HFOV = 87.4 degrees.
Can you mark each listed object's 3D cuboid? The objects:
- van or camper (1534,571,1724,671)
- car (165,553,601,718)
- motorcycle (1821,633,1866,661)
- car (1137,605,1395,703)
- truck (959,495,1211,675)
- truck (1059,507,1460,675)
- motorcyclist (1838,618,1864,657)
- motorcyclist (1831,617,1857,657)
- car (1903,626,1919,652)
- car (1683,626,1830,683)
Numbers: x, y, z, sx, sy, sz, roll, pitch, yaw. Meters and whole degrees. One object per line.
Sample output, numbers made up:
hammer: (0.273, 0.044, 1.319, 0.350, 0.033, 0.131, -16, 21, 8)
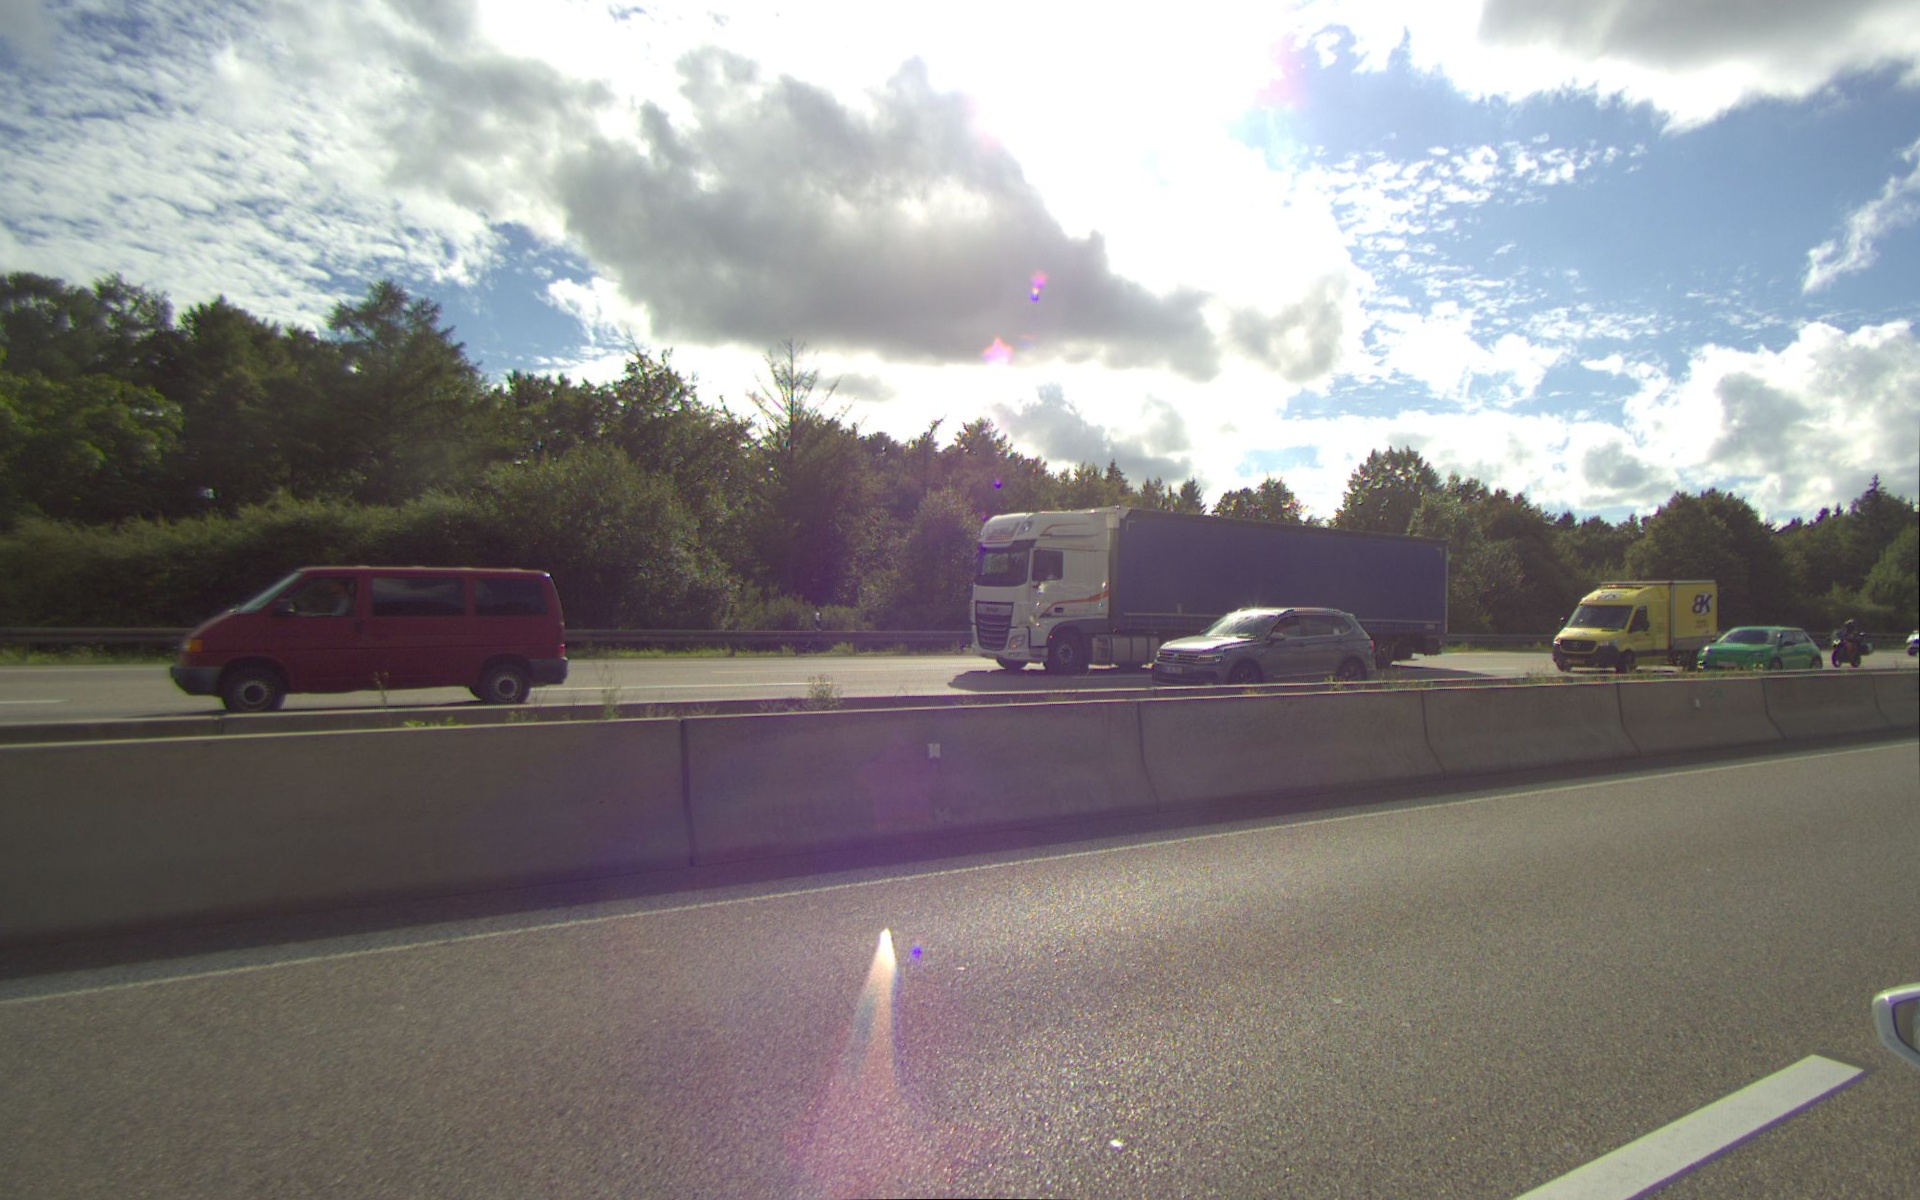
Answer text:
van or camper: (21.427, 0.694, 32.086, 6.426, 2.930, 2.364, 1, 0, -29)
car: (-7.820, 0.490, 14.068, 4.978, 1.966, 1.837, 1, -2, -33)
motorcycle: (34.023, 1.805, 38.681, 2.148, 1.053, 0.607, 1, 0, -29)
car: (5.733, 0.962, 18.611, 4.857, 1.617, 1.834, 1, -2, -31)
truck: (3.263, -0.289, 25.920, 5.991, 4.149, 2.805, 1, -1, -31)
truck: (9.291, -0.081, 29.565, 13.685, 4.149, 2.805, 1, -1, -31)
motorcyclist: (34.586, 1.451, 38.991, 0.525, 1.495, 0.600, 2, 0, -28)
motorcyclist: (34.055, 1.433, 38.706, 0.525, 1.495, 0.600, 2, 0, -28)
car: (53.080, 2.134, 54.445, 4.229, 1.413, 1.814, 1, -1, -31)
car: (22.447, 1.496, 28.285, 4.279, 1.490, 1.776, 1, -2, -30)
